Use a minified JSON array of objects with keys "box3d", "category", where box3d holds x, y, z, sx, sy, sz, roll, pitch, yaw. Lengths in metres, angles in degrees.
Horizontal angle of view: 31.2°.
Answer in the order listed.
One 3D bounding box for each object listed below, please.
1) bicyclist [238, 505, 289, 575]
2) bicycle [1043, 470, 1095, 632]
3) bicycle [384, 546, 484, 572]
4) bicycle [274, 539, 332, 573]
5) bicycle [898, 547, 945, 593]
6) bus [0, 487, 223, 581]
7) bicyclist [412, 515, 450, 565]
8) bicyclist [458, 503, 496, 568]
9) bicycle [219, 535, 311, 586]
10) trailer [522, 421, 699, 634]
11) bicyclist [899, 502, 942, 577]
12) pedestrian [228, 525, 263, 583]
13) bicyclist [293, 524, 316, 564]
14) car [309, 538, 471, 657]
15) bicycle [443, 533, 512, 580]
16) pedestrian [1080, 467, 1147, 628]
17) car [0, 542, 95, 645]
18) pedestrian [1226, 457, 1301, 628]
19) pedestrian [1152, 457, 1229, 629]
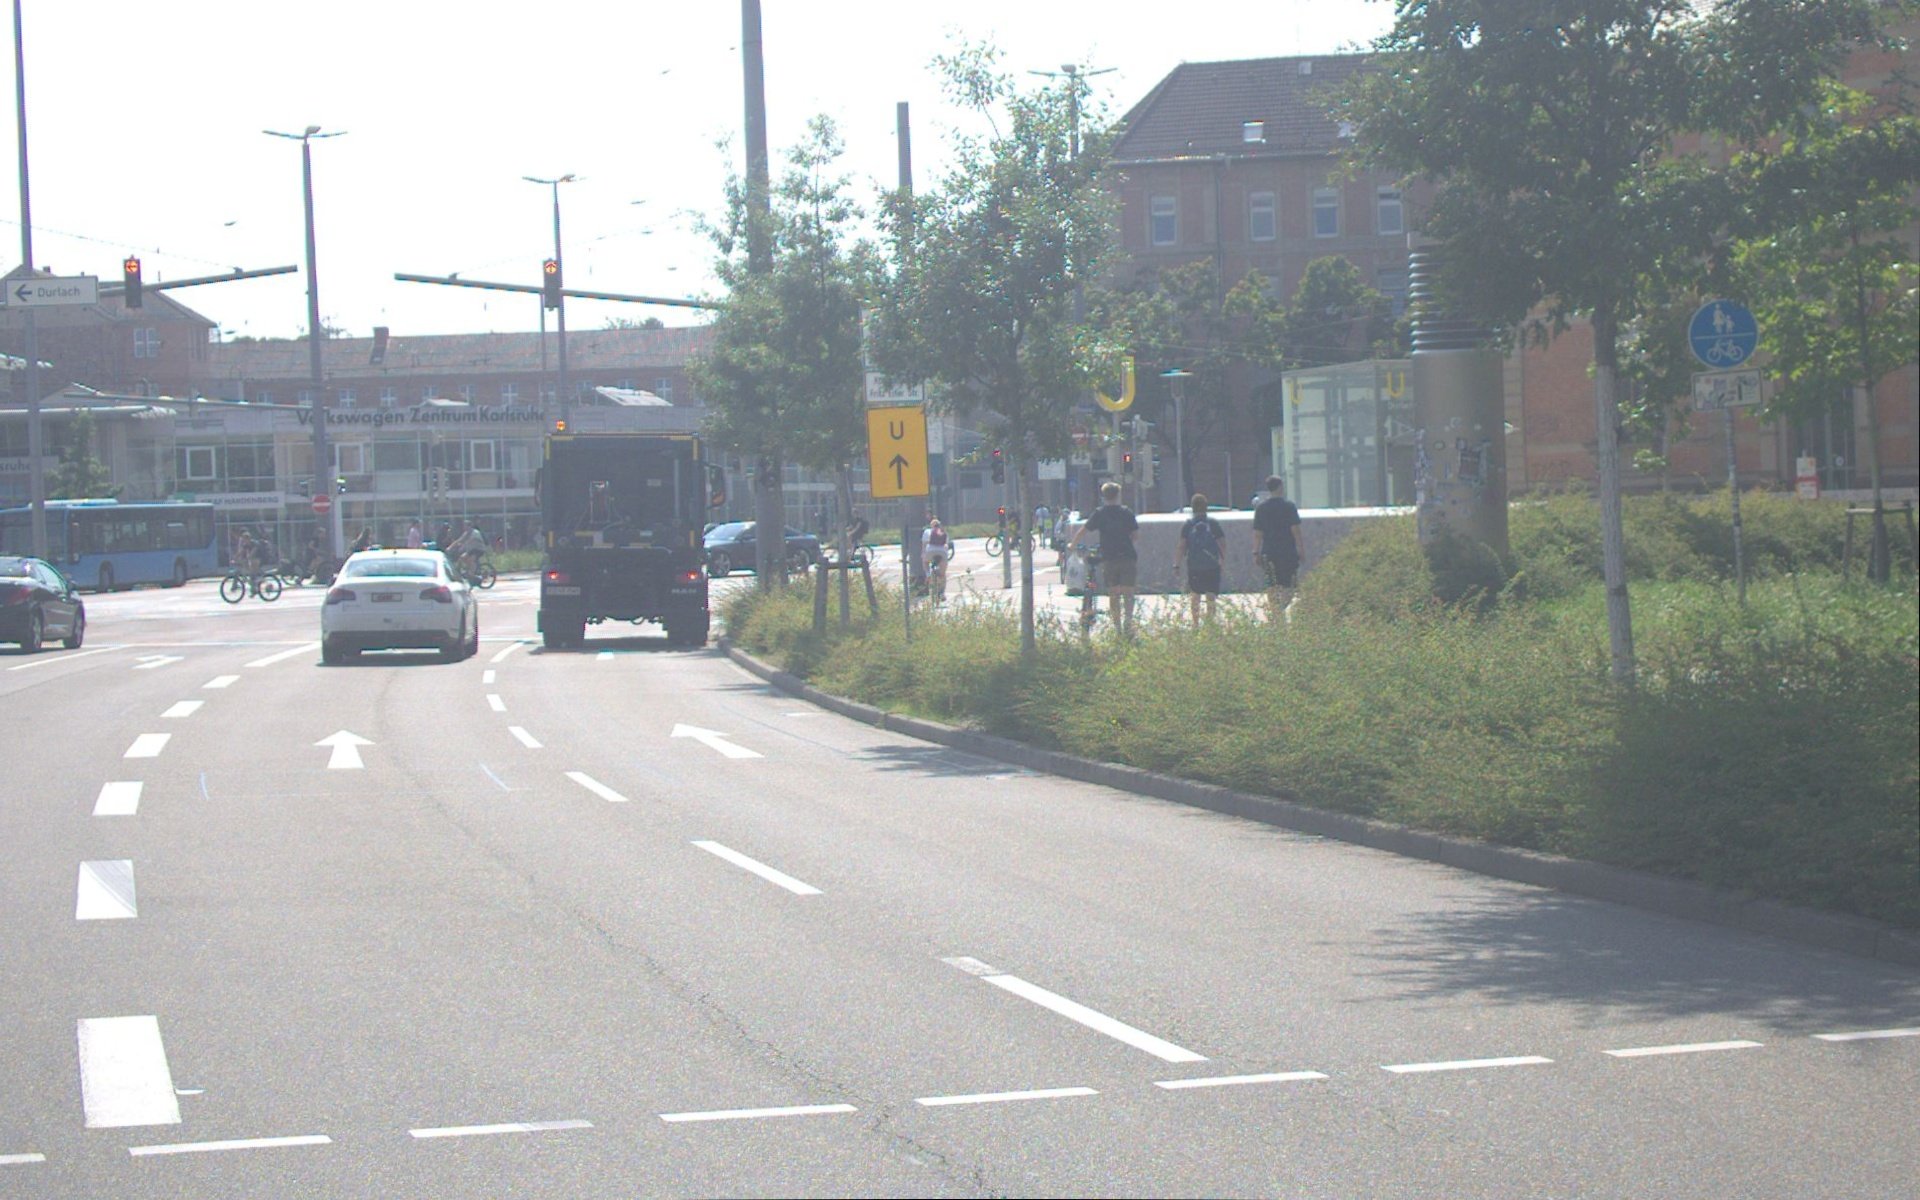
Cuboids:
[{"box3d":[-16.791,-1.452,82.874,0.972,1.648,0.662,-3,2,-38],"category":"bicyclist"},{"box3d":[1.276,-0.585,40.178,0.455,1.853,1.363,-2,2,6],"category":"bicycle"},{"box3d":[-16.357,-1.280,106.894,2.934,0.725,0.865,-3,2,-24],"category":"bicycle"},{"box3d":[-19.727,-1.324,103.249,1.591,0.981,0.507,-1,1,11],"category":"bicycle"},{"box3d":[-0.702,-0.556,61.947,0.674,0.774,2.128,-2,2,-5],"category":"bicycle"},{"box3d":[-28.440,-2.270,114.670,3.055,2.921,11.848,-1,2,11],"category":"bus"},{"box3d":[-16.444,-1.861,106.844,0.903,1.496,0.865,-2,1,-24],"category":"bicyclist"},{"box3d":[-12.479,-1.665,88.775,0.691,1.644,0.619,-1,2,25],"category":"bicyclist"},{"box3d":[-16.769,-0.952,82.881,0.972,1.174,2.831,-3,2,-38],"category":"bicycle"},{"box3d":[-5.154,-1.100,51.484,2.462,2.997,6.327,0,1,-4],"category":"trailer"},{"box3d":[-0.718,-1.089,61.859,0.674,1.315,0.684,-2,1,-5],"category":"bicyclist"},{"box3d":[-22.027,-1.414,106.004,0.783,1.746,0.808,-1,1,10],"category":"pedestrian"},{"box3d":[-19.686,-1.678,103.235,0.503,1.184,0.507,-1,1,11],"category":"bicyclist"},{"box3d":[-7.546,-0.072,45.853,1.757,1.450,4.426,-1,2,-5],"category":"car"},{"box3d":[-12.451,-1.125,88.812,0.697,1.133,2.041,-1,2,26],"category":"bicycle"},{"box3d":[1.804,-0.617,40.340,0.660,1.854,0.793,-2,1,8],"category":"pedestrian"},{"box3d":[-14.055,-0.117,50.545,1.758,1.399,3.981,-1,2,-2],"category":"car"},{"box3d":[3.577,-0.682,40.530,0.778,1.966,0.753,-2,2,9],"category":"pedestrian"},{"box3d":[2.704,-0.671,40.210,0.778,1.966,0.753,-2,2,9],"category":"pedestrian"}]
